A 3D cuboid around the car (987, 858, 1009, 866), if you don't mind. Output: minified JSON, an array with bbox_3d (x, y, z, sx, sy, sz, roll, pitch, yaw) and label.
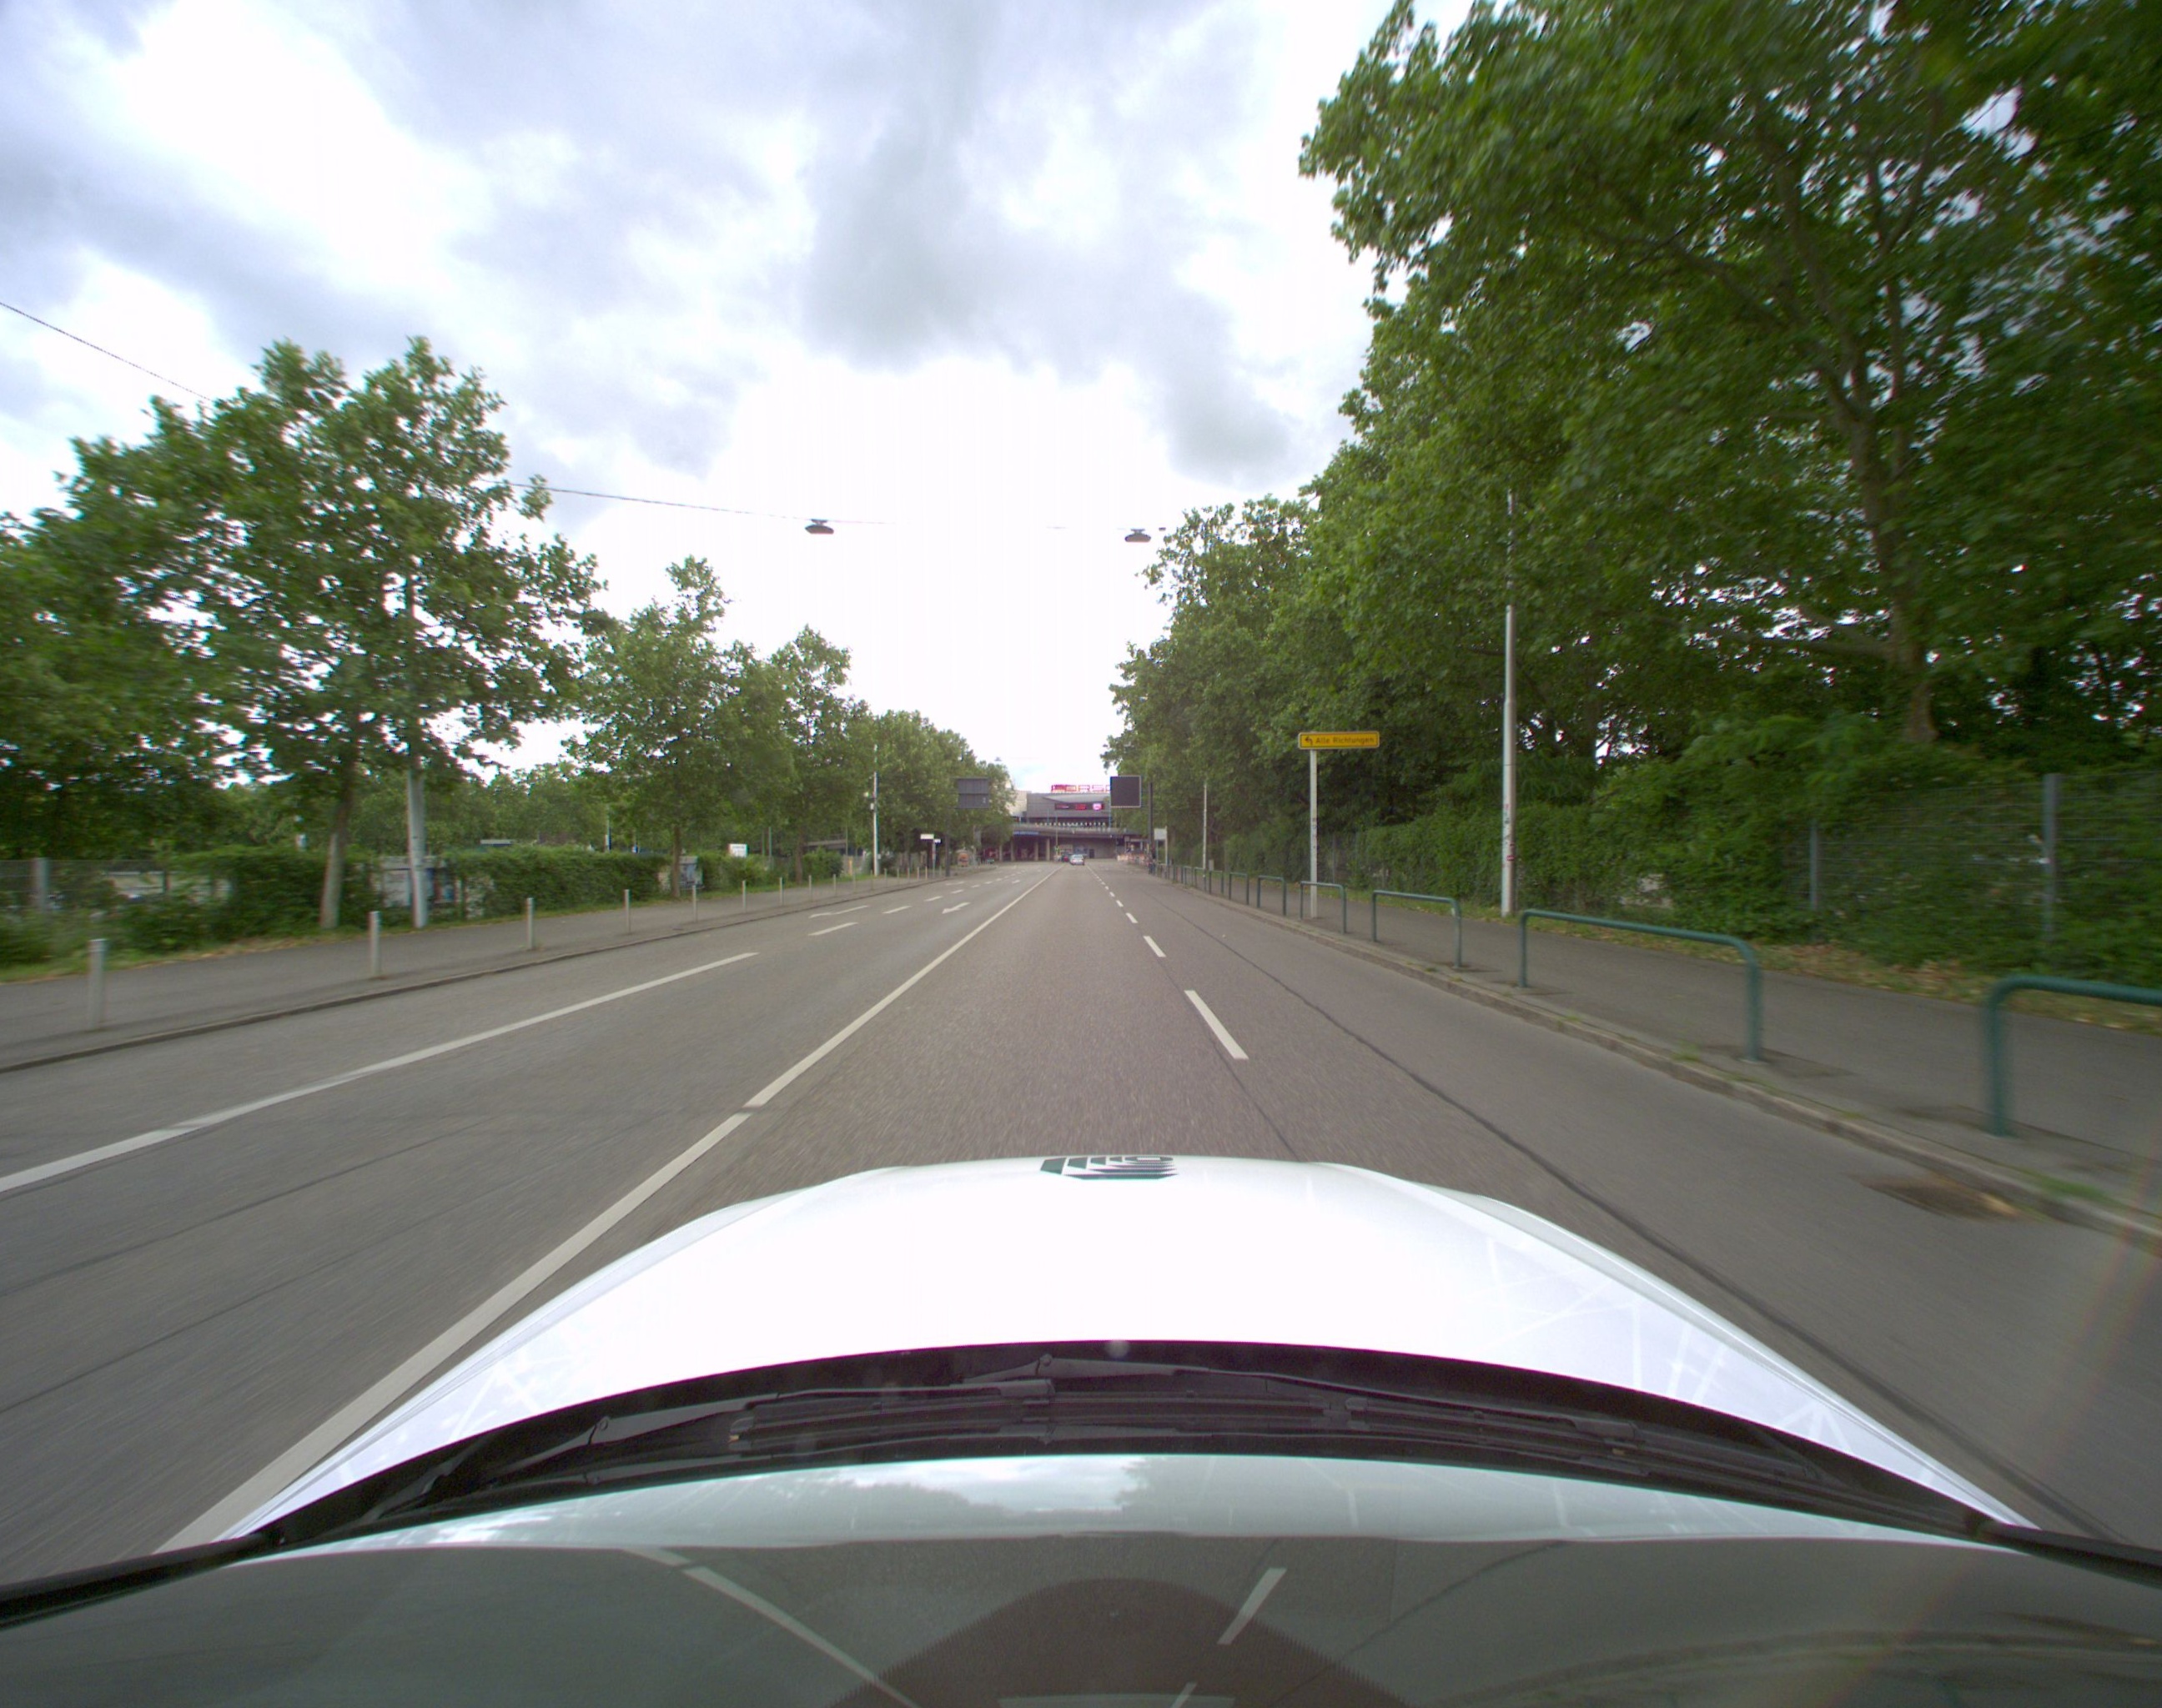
[{"bbox_3d":[-14.817,1.476,144.920,3.542,1.272,1.670,1,0,21],"label":"car"}]

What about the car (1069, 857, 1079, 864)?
[{"bbox_3d":[-1.263,1.140,138.991,1.410,1.113,3.030,1,0,-7],"label":"car"}]

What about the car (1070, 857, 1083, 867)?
[{"bbox_3d":[-0.669,1.124,117.442,1.772,1.460,3.822,1,0,1],"label":"car"}]

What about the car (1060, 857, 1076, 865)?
[{"bbox_3d":[-2.477,1.239,152.077,1.997,1.486,3.980,0,0,-15],"label":"car"}]
